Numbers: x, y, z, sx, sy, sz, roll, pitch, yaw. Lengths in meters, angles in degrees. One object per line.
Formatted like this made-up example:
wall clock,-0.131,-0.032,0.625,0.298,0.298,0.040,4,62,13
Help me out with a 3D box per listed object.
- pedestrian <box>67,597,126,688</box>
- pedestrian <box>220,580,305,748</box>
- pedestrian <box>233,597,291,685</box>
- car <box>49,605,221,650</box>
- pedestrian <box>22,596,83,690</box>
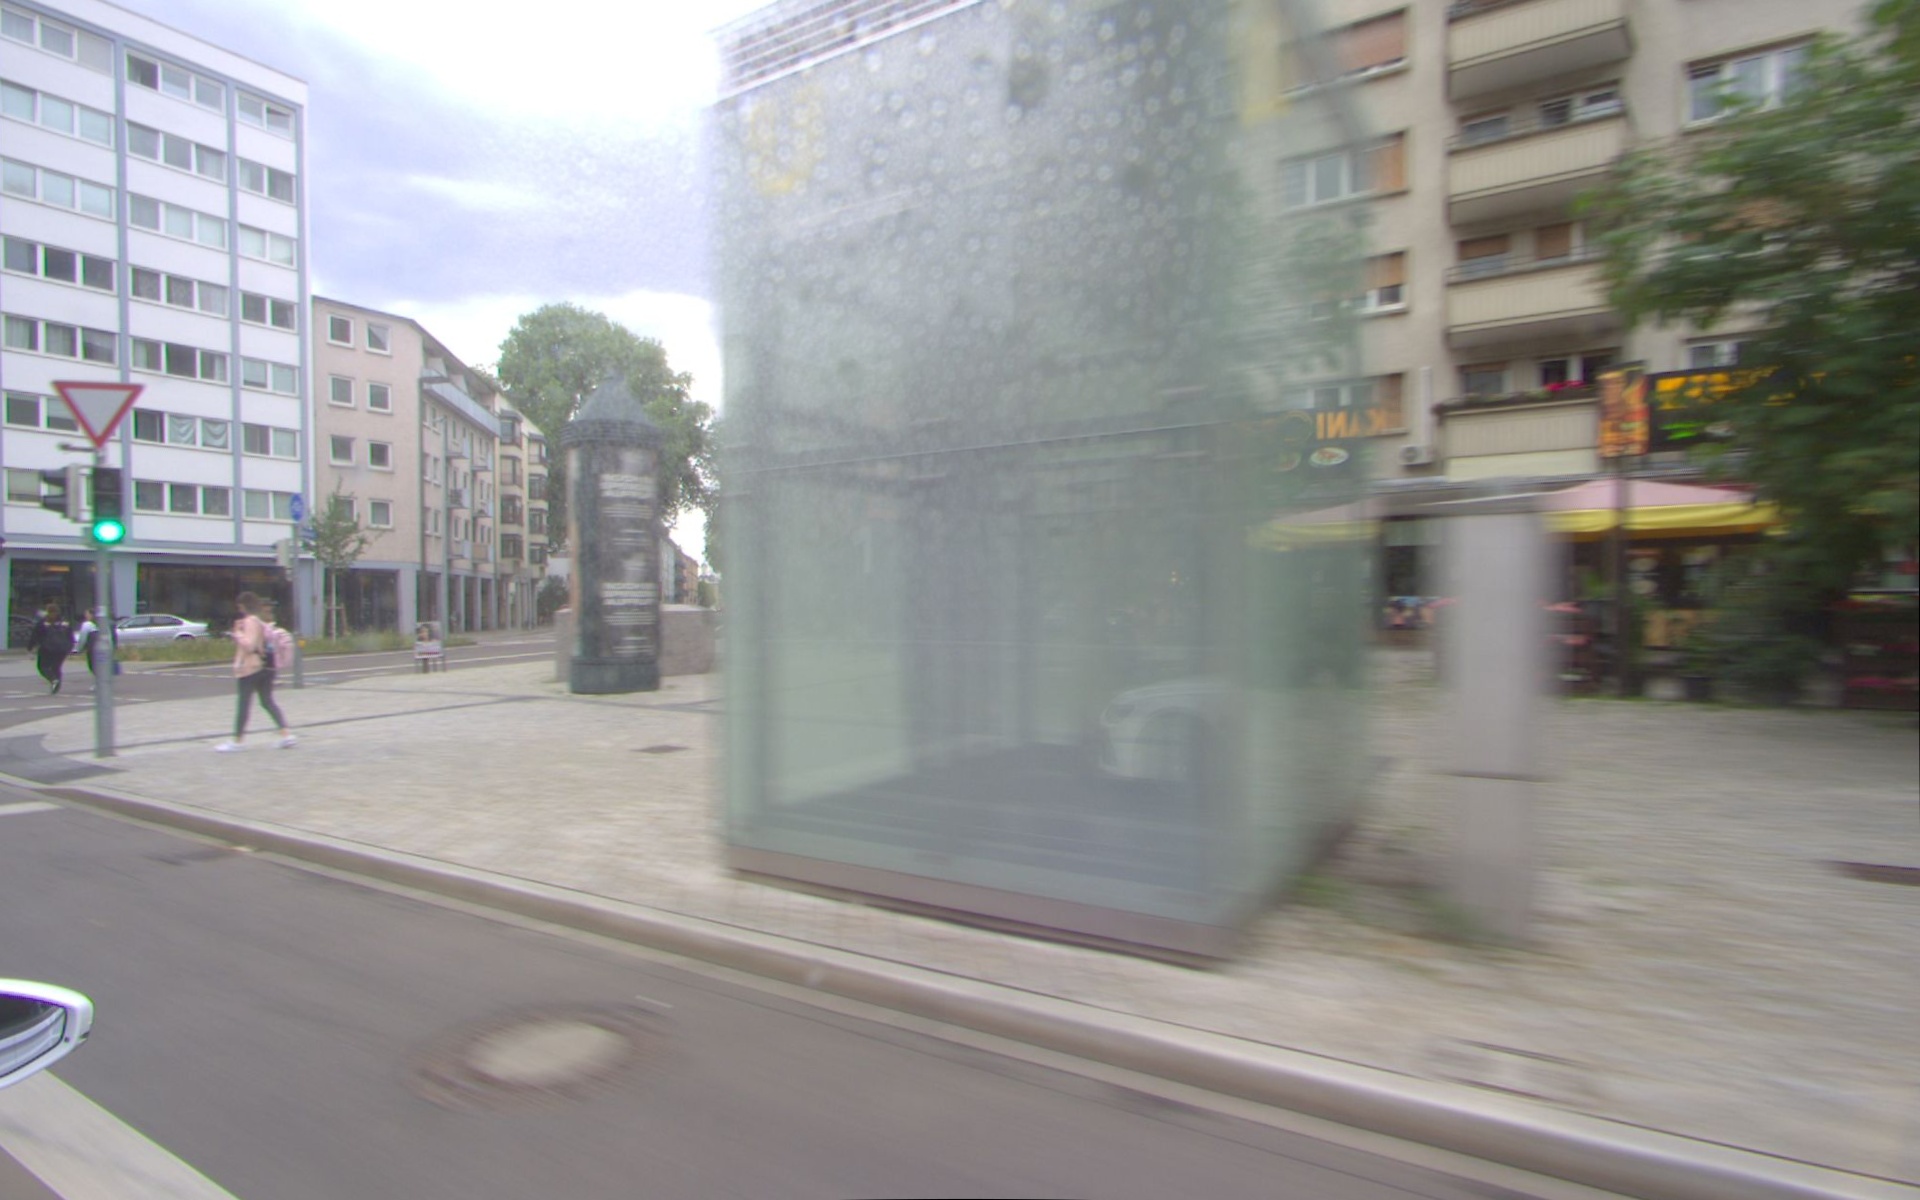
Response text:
pedestrian,-17.411,0.845,20.192,0.767,1.784,0.621,0,0,25
pedestrian,-7.684,0.688,11.039,0.592,1.784,0.522,0,0,25
pedestrian,-15.682,0.901,22.497,1.140,1.888,0.798,0,2,42
car,-29.982,0.954,36.562,1.722,1.501,4.545,-1,0,30
pedestrian,-17.740,0.828,19.588,0.767,1.784,0.621,0,0,25
